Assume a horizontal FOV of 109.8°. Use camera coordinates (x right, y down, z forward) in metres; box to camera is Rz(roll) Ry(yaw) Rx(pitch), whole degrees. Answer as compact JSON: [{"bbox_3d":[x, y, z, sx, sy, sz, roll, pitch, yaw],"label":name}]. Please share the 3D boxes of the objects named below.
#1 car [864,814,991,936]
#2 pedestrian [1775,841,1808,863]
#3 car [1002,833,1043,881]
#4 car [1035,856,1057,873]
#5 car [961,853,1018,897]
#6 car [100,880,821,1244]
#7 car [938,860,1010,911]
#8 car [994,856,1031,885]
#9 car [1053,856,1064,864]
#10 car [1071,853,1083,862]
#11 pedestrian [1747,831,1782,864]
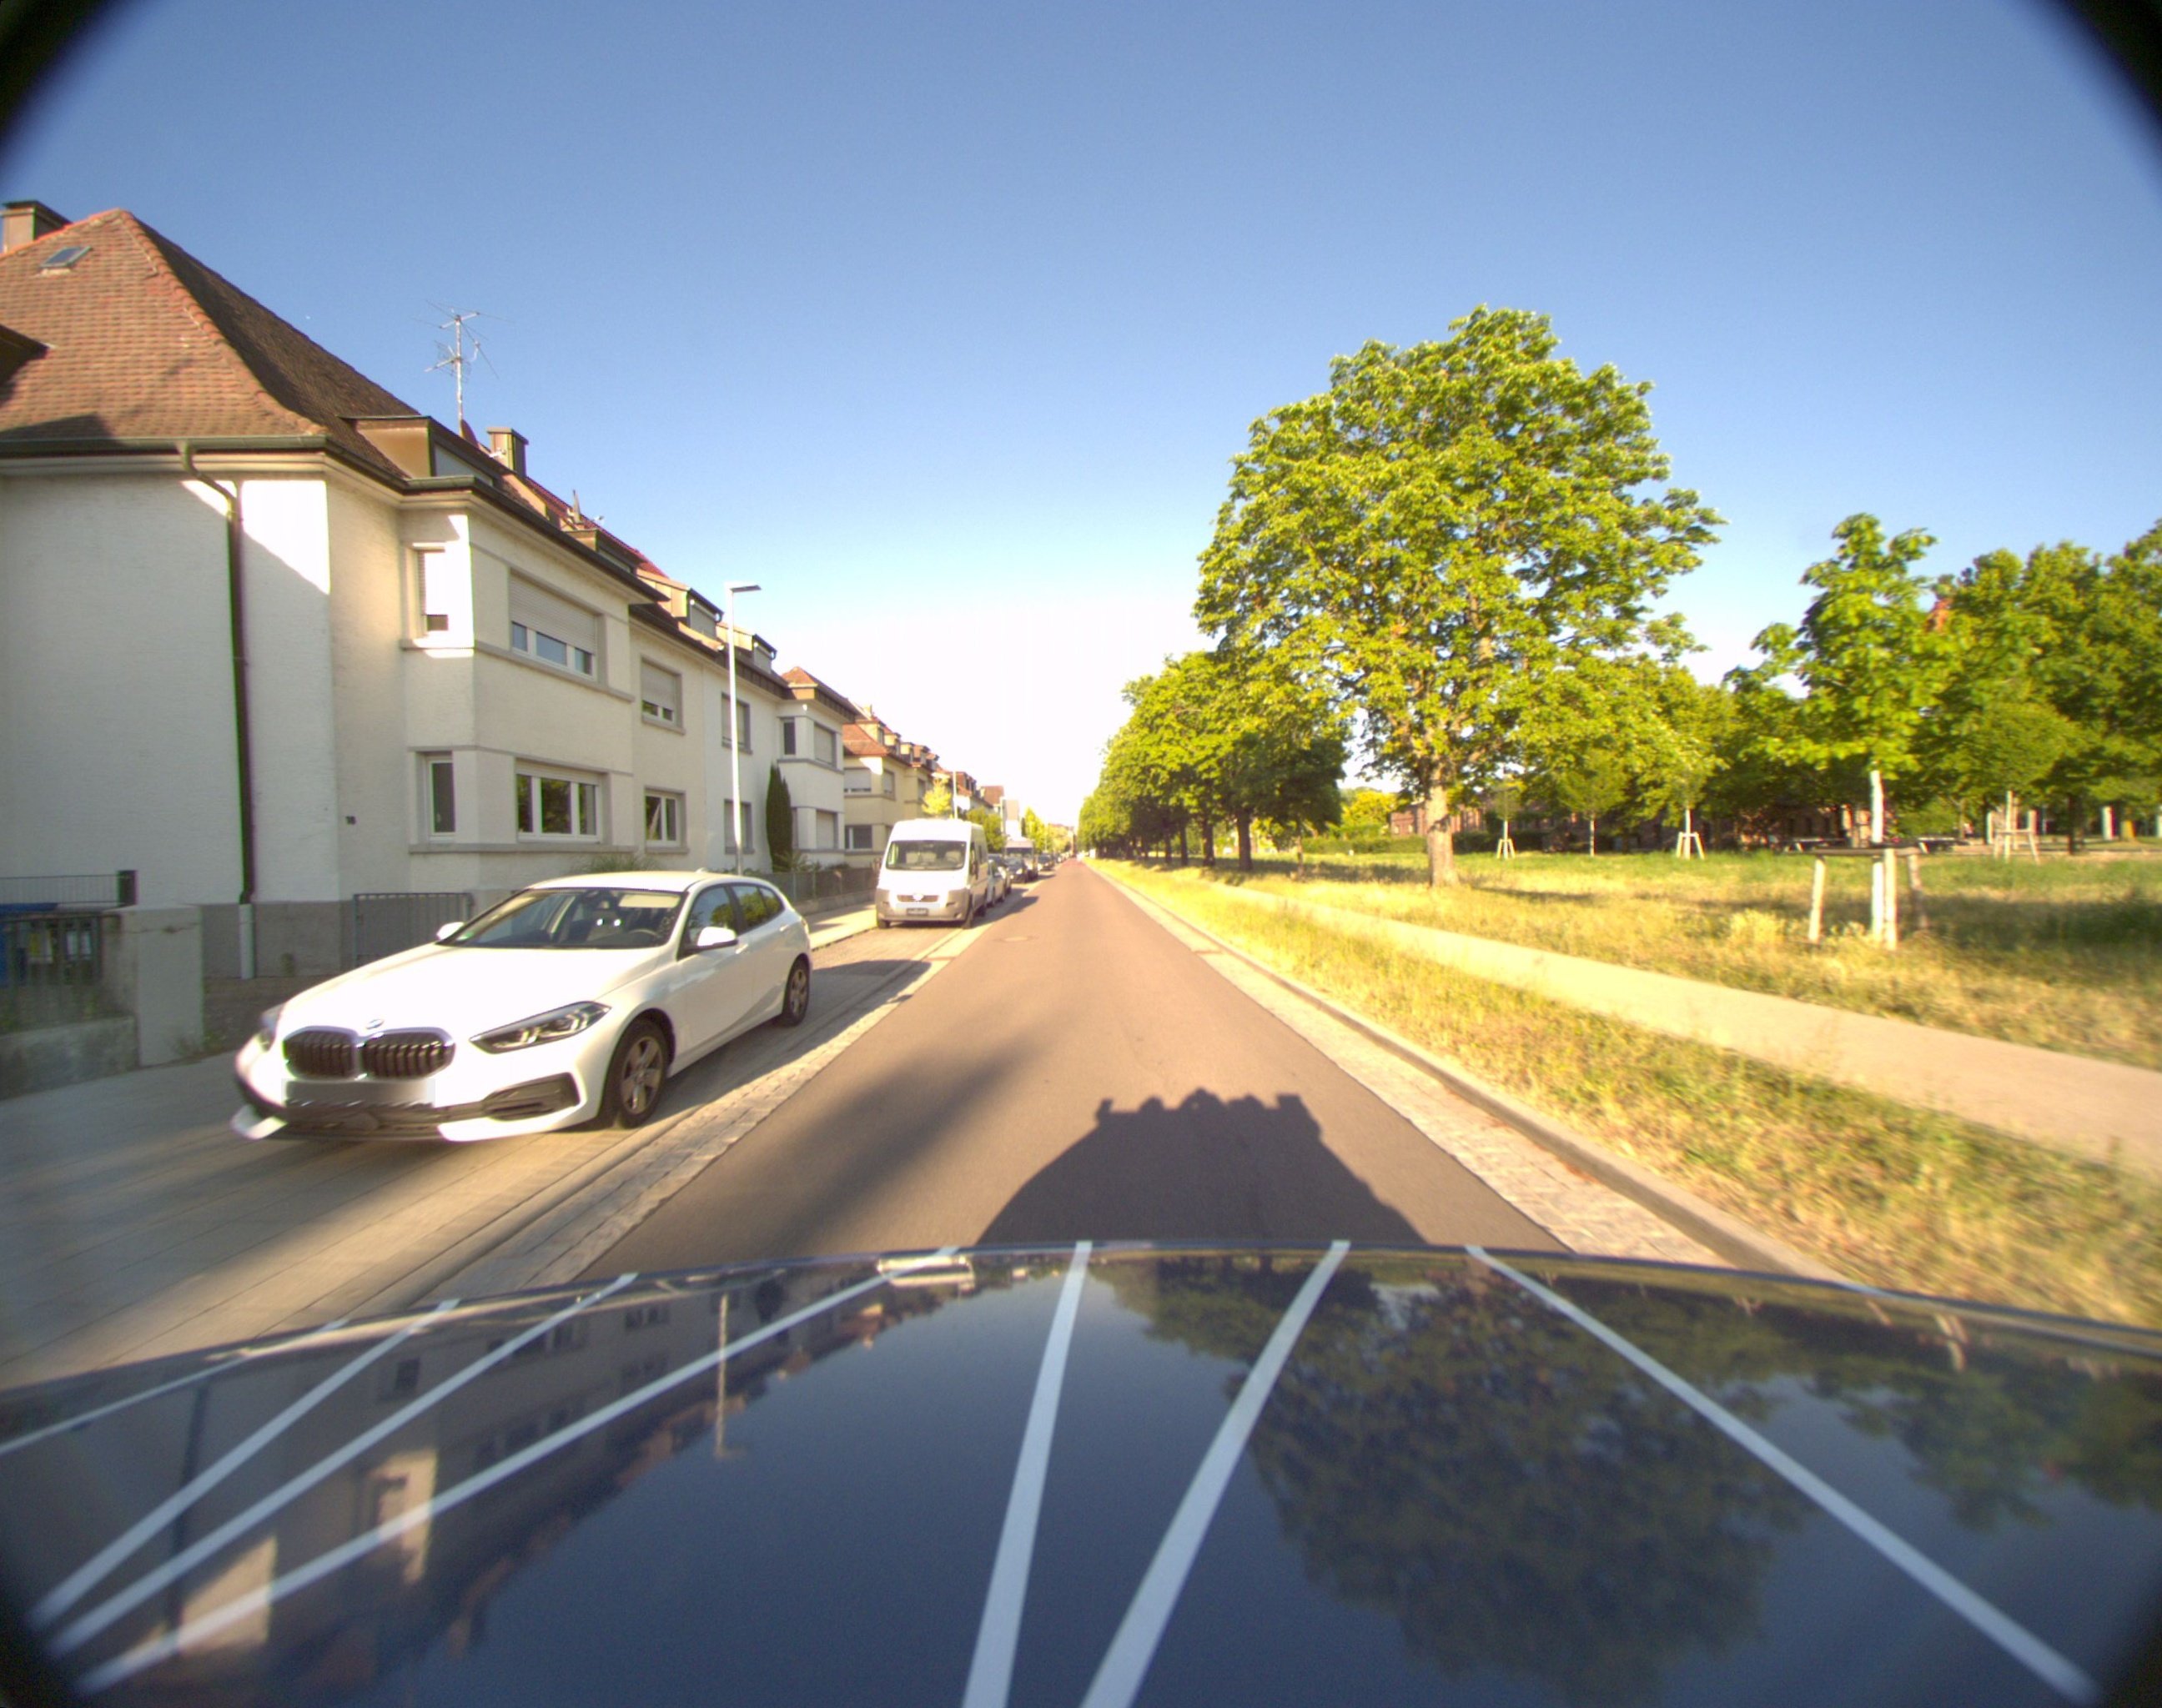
[{"bbox_3d":[-3.497,0.441,18.467,2.135,2.503,5.507,0,0,-2],"label":"car"},{"bbox_3d":[43.363,-0.133,46.395,1.116,1.287,0.982,-2,0,-9],"label":"pedestrian"},{"bbox_3d":[-3.680,0.167,48.839,2.134,2.837,5.986,-2,0,0],"label":"car"},{"bbox_3d":[-3.482,1.039,75.445,1.974,1.630,4.000,1,0,0],"label":"car"},{"bbox_3d":[-3.537,0.773,30.039,1.782,1.635,4.480,0,0,-1],"label":"car"},{"bbox_3d":[-3.474,1.000,5.493,1.787,1.498,4.233,1,0,-1],"label":"car"},{"bbox_3d":[-3.338,0.931,24.373,1.626,1.474,4.108,-1,0,1],"label":"car"},{"bbox_3d":[-3.808,0.886,42.618,1.629,1.431,4.004,-2,0,1],"label":"car"},{"bbox_3d":[-4.542,1.167,151.734,1.974,1.630,4.000,-2,0,0],"label":"car"},{"bbox_3d":[-0.663,0.635,134.635,1.974,1.630,4.000,-2,0,0],"label":"car"},{"bbox_3d":[39.153,-0.380,43.551,1.115,1.852,0.984,-2,1,6],"label":"pedestrian"}]
